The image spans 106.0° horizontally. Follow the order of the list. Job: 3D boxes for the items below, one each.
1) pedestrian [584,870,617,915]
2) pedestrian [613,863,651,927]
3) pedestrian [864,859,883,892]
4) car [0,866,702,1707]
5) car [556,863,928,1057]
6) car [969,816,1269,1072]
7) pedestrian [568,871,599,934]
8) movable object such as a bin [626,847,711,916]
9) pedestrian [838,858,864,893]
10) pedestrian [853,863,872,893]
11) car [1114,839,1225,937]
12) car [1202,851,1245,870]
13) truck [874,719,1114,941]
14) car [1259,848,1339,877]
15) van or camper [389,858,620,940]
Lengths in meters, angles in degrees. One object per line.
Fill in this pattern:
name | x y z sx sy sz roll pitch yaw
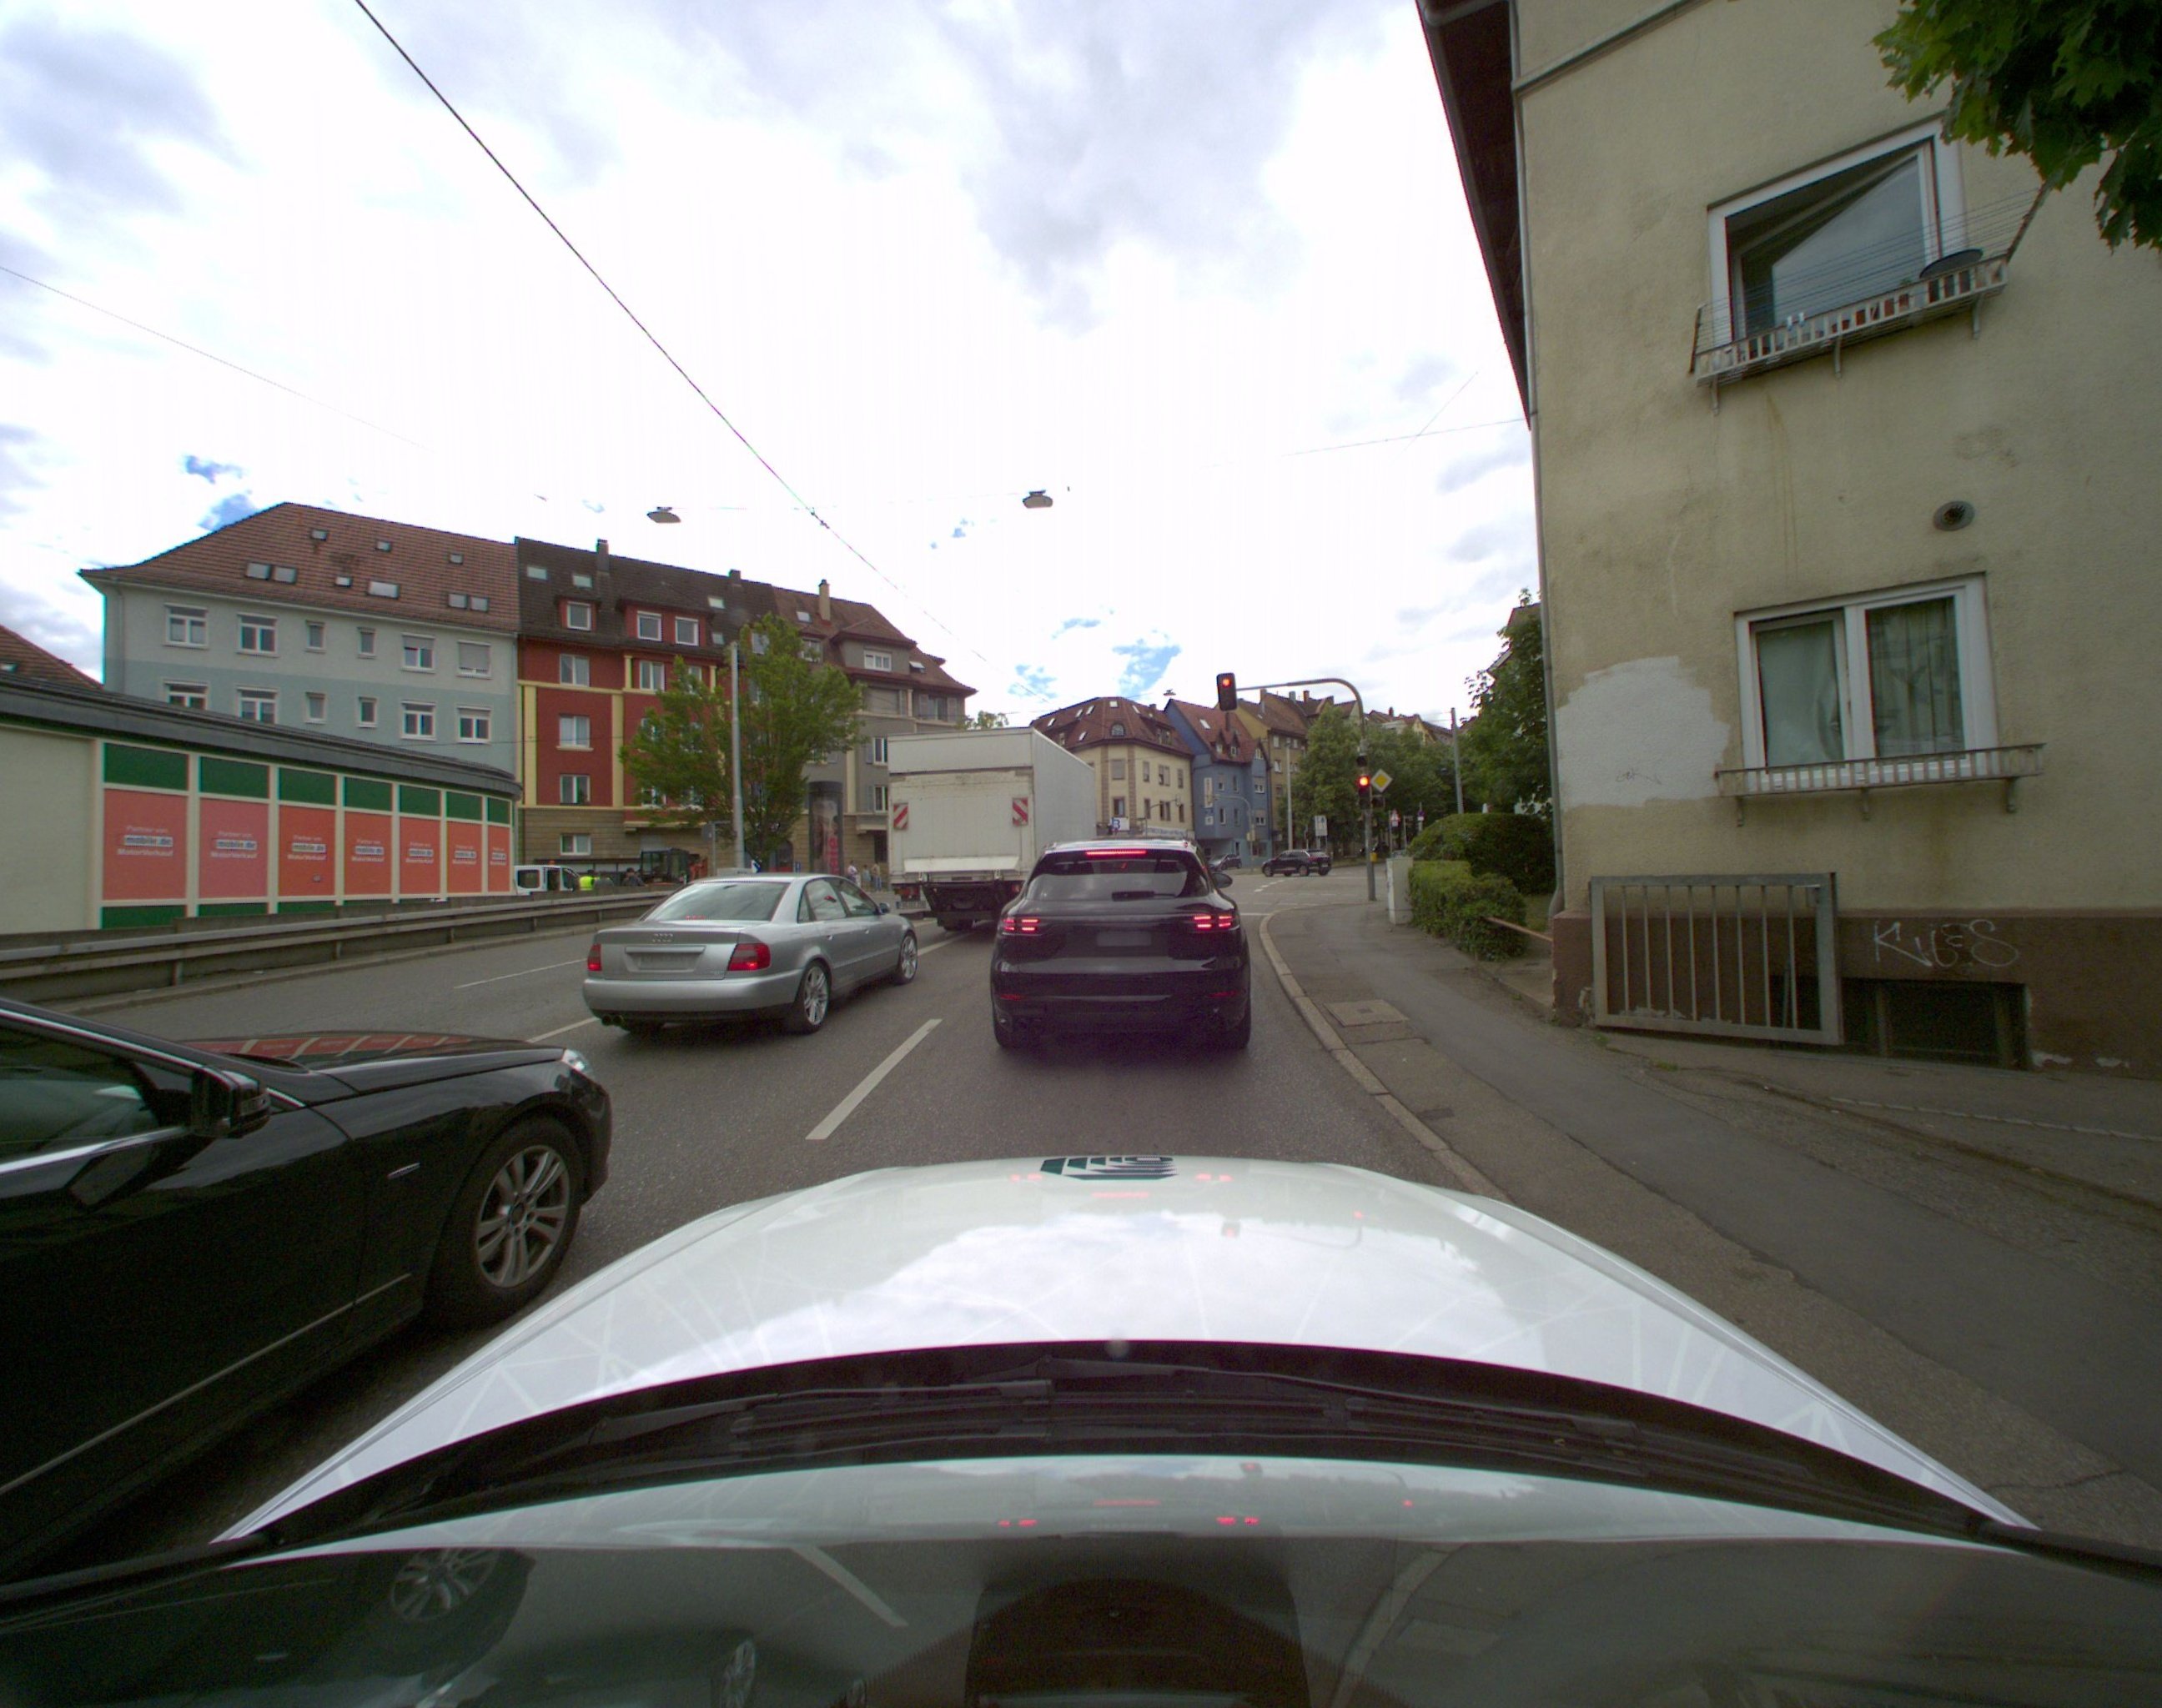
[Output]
pedestrian | -14.768 1.179 25.038 0.594 1.363 0.630 -2 0 35
pedestrian | -11.929 1.072 21.662 0.690 1.637 0.774 -2 0 -19
pedestrian | -9.660 0.986 37.921 0.657 1.487 0.517 -2 0 -40
car | -2.874 0.810 1.416 1.986 1.429 4.844 -2 0 2
car | -2.970 0.829 8.216 1.620 1.365 4.135 -2 0 6
car | 0.328 0.623 7.780 2.024 1.723 4.502 0 0 2
pedestrian | -16.405 1.582 26.867 0.830 2.013 0.673 -1 0 -34
movable object such as a bin | -13.147 0.843 26.154 1.375 2.013 3.524 -2 0 -10
pedestrian | -10.370 0.953 36.679 0.785 1.546 0.743 -2 0 28
pedestrian | -10.021 1.090 37.387 0.568 1.338 0.588 -2 0 36
car | 1.729 0.565 14.874 1.638 1.556 3.595 -1 -1 12
car | 12.453 0.594 71.010 1.700 1.477 4.244 -2 -3 42
truck | -1.292 -0.390 17.514 2.708 3.544 8.446 -2 0 10
car | 12.102 0.437 45.370 2.008 1.530 3.957 0 0 -35
van or camper | -18.989 1.386 27.264 6.028 2.338 2.661 -1 0 -33
